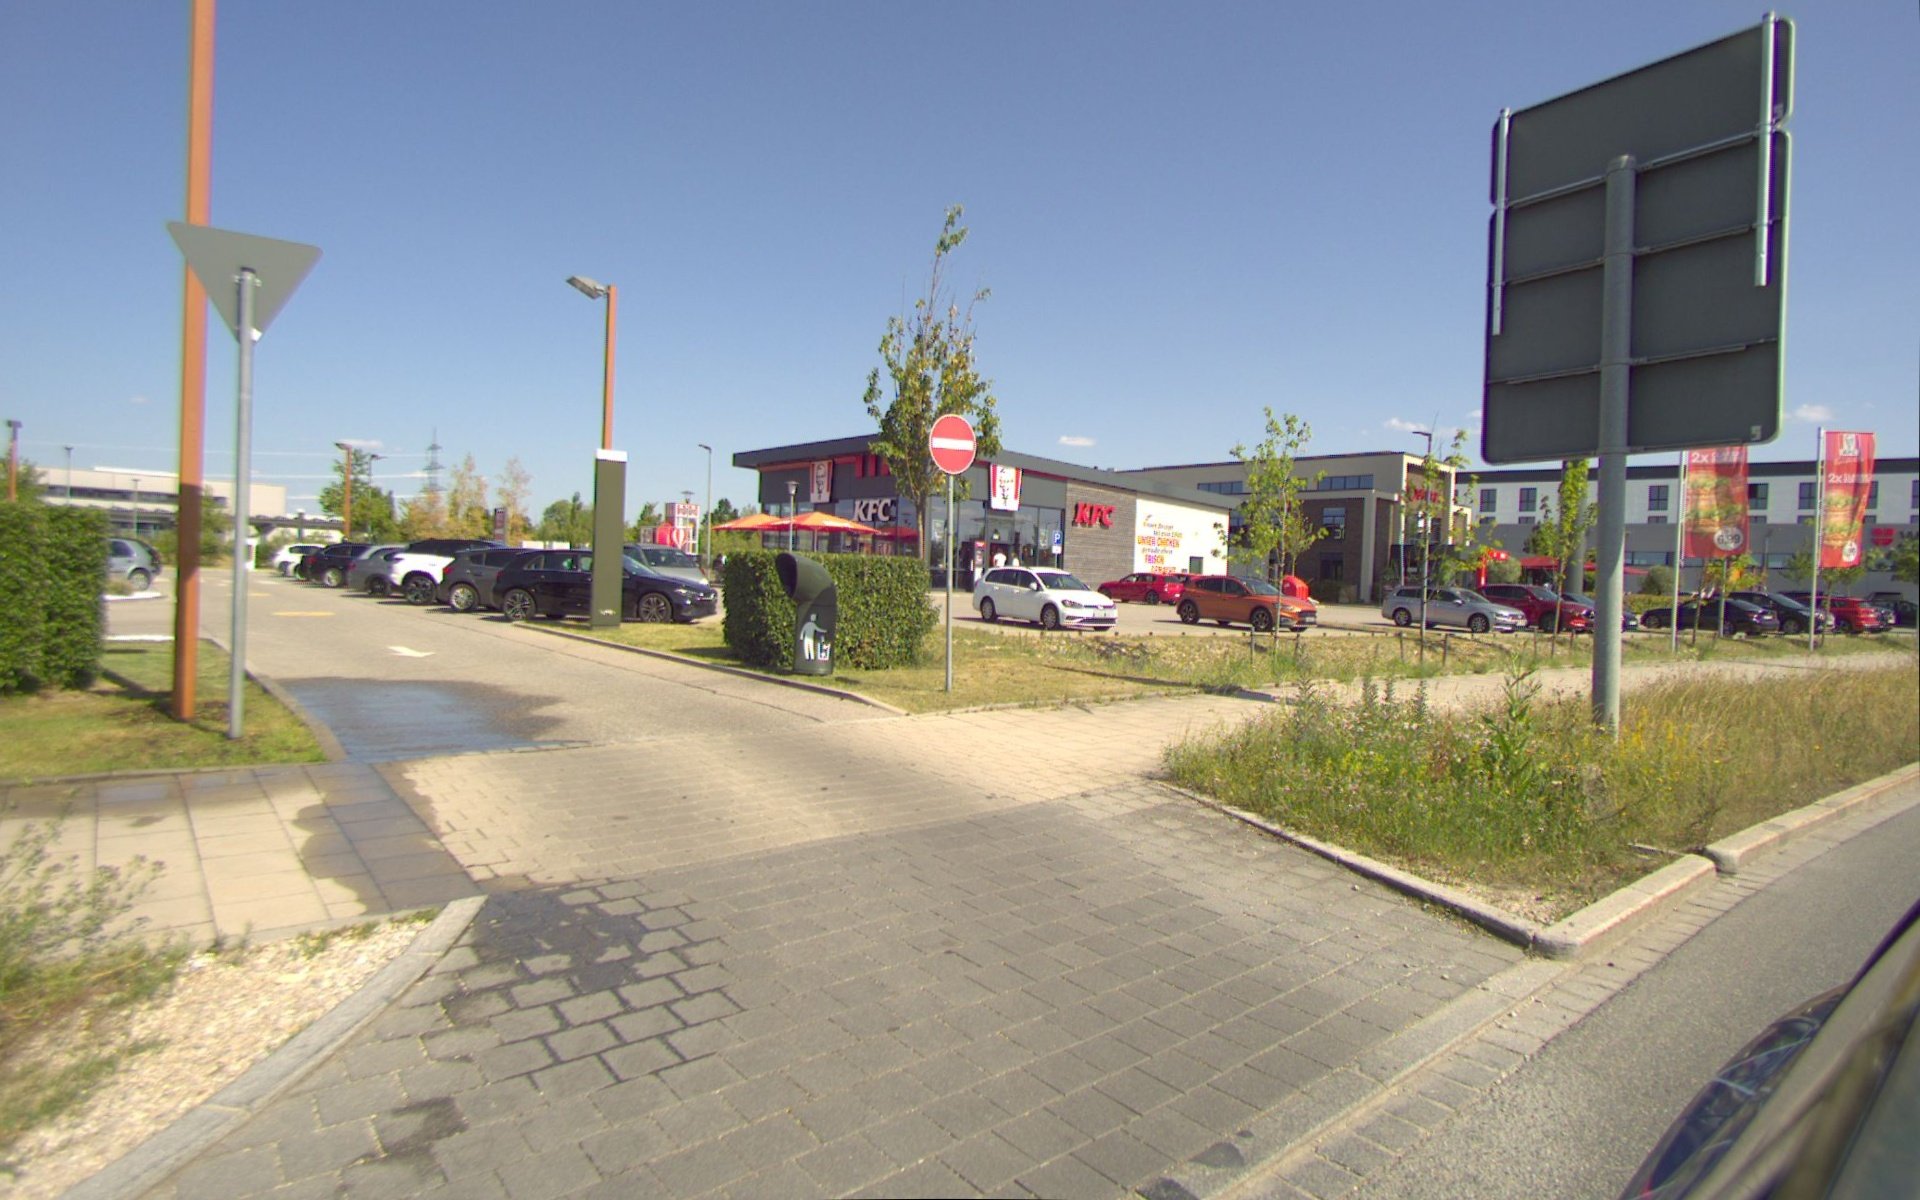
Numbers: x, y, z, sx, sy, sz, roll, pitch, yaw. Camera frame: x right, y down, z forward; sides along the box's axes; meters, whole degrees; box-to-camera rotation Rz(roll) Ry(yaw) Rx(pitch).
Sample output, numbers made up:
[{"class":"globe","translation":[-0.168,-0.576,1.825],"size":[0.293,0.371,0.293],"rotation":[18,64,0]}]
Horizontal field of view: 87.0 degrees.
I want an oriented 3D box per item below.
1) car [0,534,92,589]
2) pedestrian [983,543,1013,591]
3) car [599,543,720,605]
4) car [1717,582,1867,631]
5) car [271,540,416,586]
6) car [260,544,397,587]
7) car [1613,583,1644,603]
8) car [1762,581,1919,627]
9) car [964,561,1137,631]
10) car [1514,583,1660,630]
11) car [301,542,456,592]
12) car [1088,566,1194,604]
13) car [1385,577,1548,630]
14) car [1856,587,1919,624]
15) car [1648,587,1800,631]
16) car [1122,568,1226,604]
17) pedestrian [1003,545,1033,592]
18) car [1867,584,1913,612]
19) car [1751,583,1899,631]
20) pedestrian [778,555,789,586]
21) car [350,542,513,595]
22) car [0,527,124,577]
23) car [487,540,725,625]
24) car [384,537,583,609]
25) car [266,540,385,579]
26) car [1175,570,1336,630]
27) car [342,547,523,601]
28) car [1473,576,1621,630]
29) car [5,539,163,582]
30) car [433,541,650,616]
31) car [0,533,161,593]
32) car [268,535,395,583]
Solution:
[{"class":"car","translation":[-25.037,-1.009,26.074],"size":[1.767,1.390,3.996],"rotation":[2,2,5]},{"class":"pedestrian","translation":[1.646,-1.406,43.662],"size":[0.875,2.038,0.916],"rotation":[1,1,-37]},{"class":"car","translation":[-8.733,-0.791,29.207],"size":[1.760,1.655,4.163],"rotation":[0,2,-41]},{"class":"car","translation":[34.206,0.239,41.766],"size":[1.753,1.756,4.431],"rotation":[2,2,-23]},{"class":"car","translation":[-21.787,-1.305,35.845],"size":[4.092,1.469,1.791],"rotation":[2,2,2]},{"class":"car","translation":[-23.915,-1.300,38.406],"size":[4.092,1.469,1.791],"rotation":[2,2,2]},{"class":"car","translation":[53.450,-0.542,80.893],"size":[1.693,1.480,4.051],"rotation":[2,2,39]},{"class":"car","translation":[39.381,0.147,45.376],"size":[1.899,1.756,5.009],"rotation":[2,2,-25]},{"class":"car","translation":[2.142,-0.150,25.210],"size":[1.832,1.508,4.544],"rotation":[1,2,-34]},{"class":"car","translation":[23.029,0.221,37.326],"size":[1.756,1.467,4.172],"rotation":[1,2,-32]},{"class":"car","translation":[-19.081,-1.088,33.306],"size":[4.092,1.469,1.791],"rotation":[2,2,2]},{"class":"car","translation":[8.144,-0.700,45.822],"size":[1.836,1.449,4.565],"rotation":[1,3,-41]},{"class":"car","translation":[16.828,0.079,33.872],"size":[1.831,1.508,4.577],"rotation":[1,2,-30]},{"class":"car","translation":[43.481,0.300,45.429],"size":[1.953,1.585,4.430],"rotation":[2,2,-25]},{"class":"car","translation":[29.999,0.323,39.898],"size":[1.754,1.467,4.430],"rotation":[2,2,-24]},{"class":"car","translation":[10.000,-0.691,47.607],"size":[1.836,1.449,4.565],"rotation":[1,3,-41]},{"class":"pedestrian","translation":[2.539,-1.404,44.531],"size":[0.875,2.038,0.916],"rotation":[1,1,-37]},{"class":"car","translation":[64.262,-0.146,69.984],"size":[2.040,1.838,4.852],"rotation":[3,2,40]},{"class":"car","translation":[36.857,0.260,43.266],"size":[1.753,1.756,4.431],"rotation":[2,2,-23]},{"class":"pedestrian","translation":[-7.239,-1.212,41.488],"size":[0.287,1.255,0.380],"rotation":[0,2,-42]},{"class":"car","translation":[-16.153,-0.977,31.056],"size":[4.092,1.469,1.791],"rotation":[2,2,2]},{"class":"car","translation":[-34.734,-1.821,38.736],"size":[4.092,1.779,1.791],"rotation":[2,1,2]},{"class":"car","translation":[-6.912,-0.362,19.988],"size":[4.092,1.480,1.702],"rotation":[2,2,2]},{"class":"car","translation":[-11.685,-0.665,24.988],"size":[4.092,1.599,1.791],"rotation":[2,2,2]},{"class":"car","translation":[-27.396,-1.740,43.763],"size":[4.092,1.541,1.791],"rotation":[2,2,2]},{"class":"car","translation":[8.389,-0.041,29.064],"size":[1.832,1.508,4.221],"rotation":[1,2,-34]},{"class":"car","translation":[-14.533,-0.725,28.000],"size":[4.092,1.313,1.791],"rotation":[2,2,2]},{"class":"car","translation":[20.858,0.069,36.142],"size":[1.830,1.685,4.176],"rotation":[1,2,-26]},{"class":"car","translation":[-30.535,-1.370,35.454],"size":[1.767,1.390,4.176],"rotation":[2,2,5]},{"class":"car","translation":[-9.272,-0.492,22.626],"size":[4.092,1.480,1.791],"rotation":[2,2,2]},{"class":"car","translation":[-22.703,-0.945,25.514],"size":[1.767,1.390,3.996],"rotation":[2,2,5]},{"class":"car","translation":[-25.576,-1.672,41.262],"size":[4.092,1.779,1.791],"rotation":[2,1,2]}]
